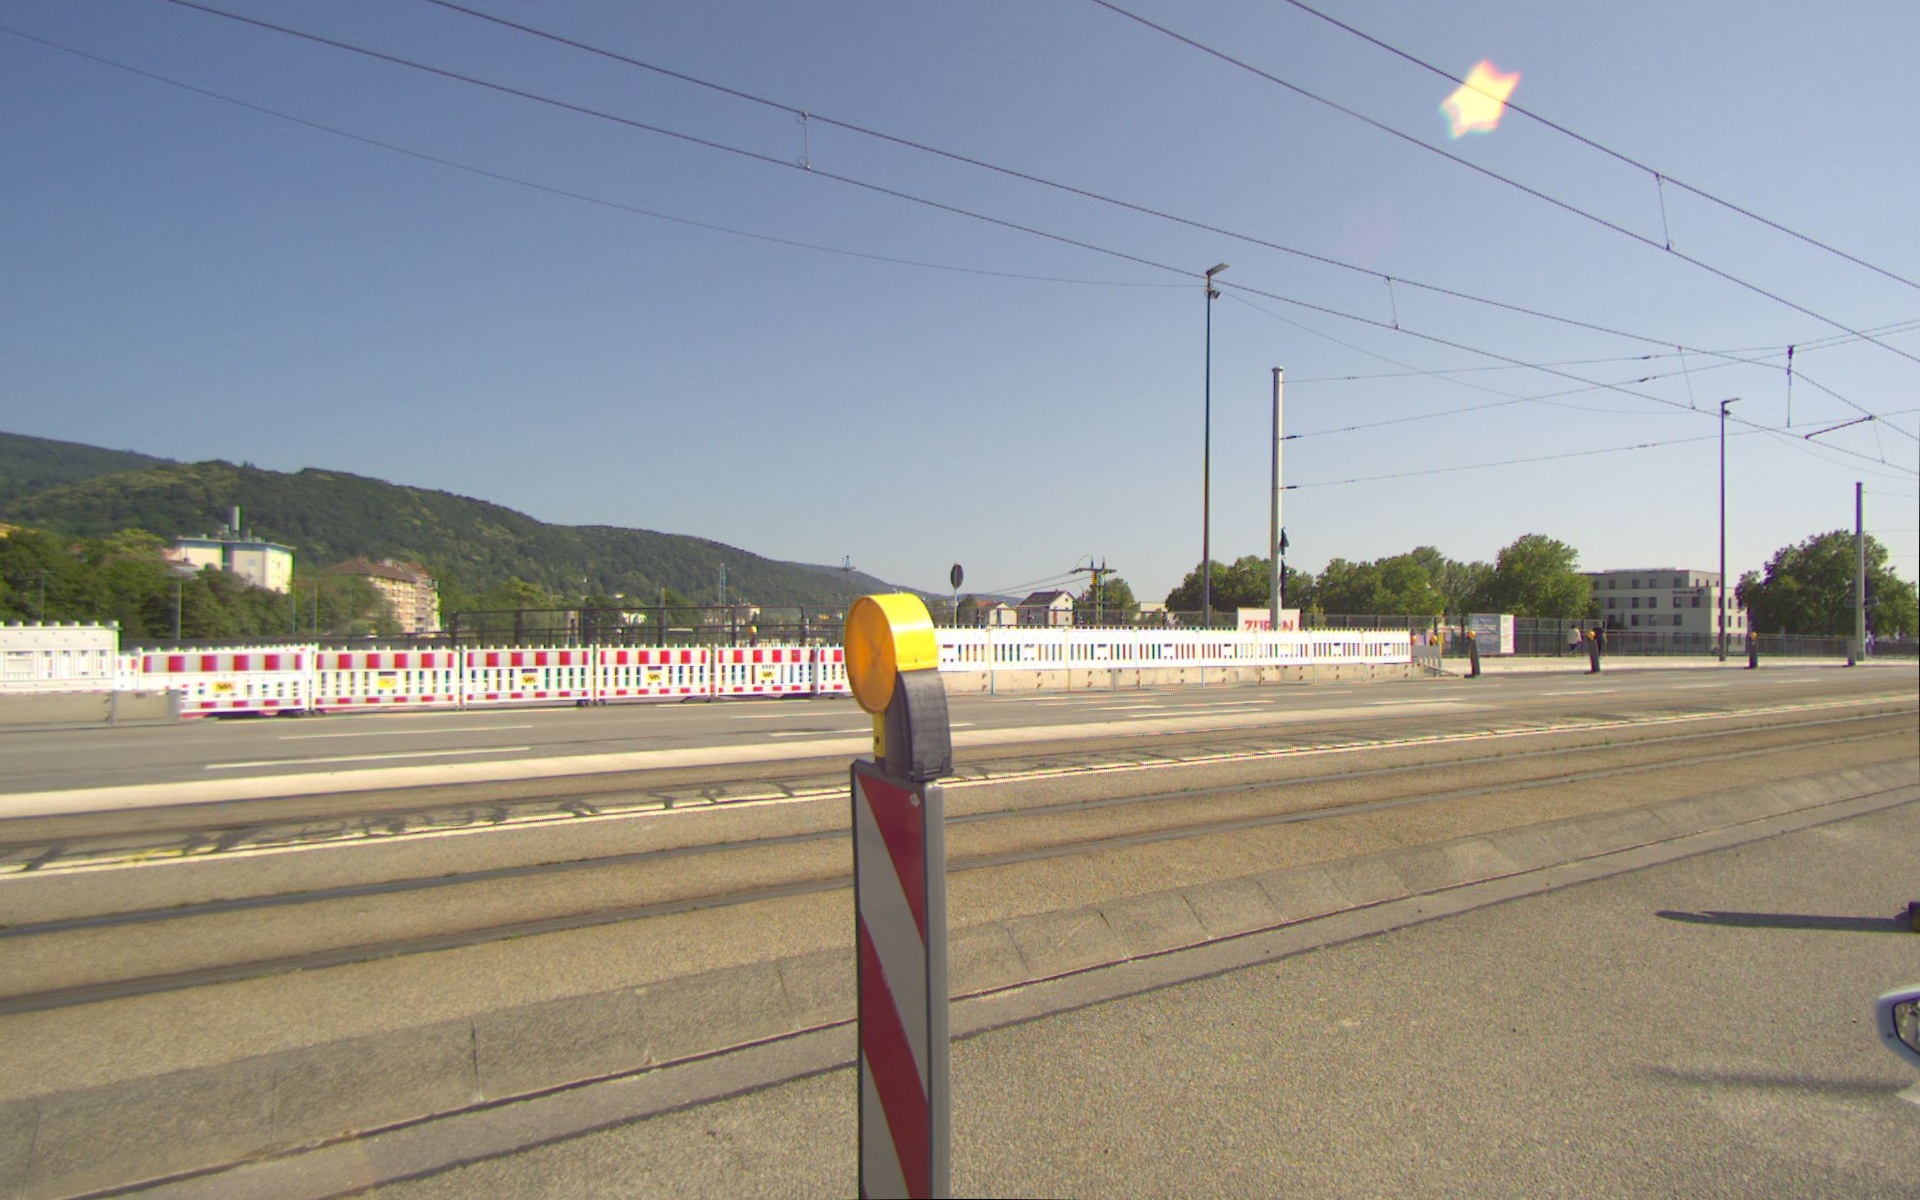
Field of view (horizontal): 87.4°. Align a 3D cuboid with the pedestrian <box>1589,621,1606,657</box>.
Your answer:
[{"bbox_3d":[30.099,1.840,47.396,0.468,1.717,0.493,2,0,-30],"label":"pedestrian"}]

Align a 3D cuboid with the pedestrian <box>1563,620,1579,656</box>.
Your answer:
[{"bbox_3d":[29.517,1.829,48.521,0.468,1.717,0.493,2,0,-30],"label":"pedestrian"}]

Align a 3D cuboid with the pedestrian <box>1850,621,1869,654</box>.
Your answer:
[{"bbox_3d":[52.705,2.203,58.853,0.743,1.919,0.631,1,0,-31],"label":"pedestrian"}]
